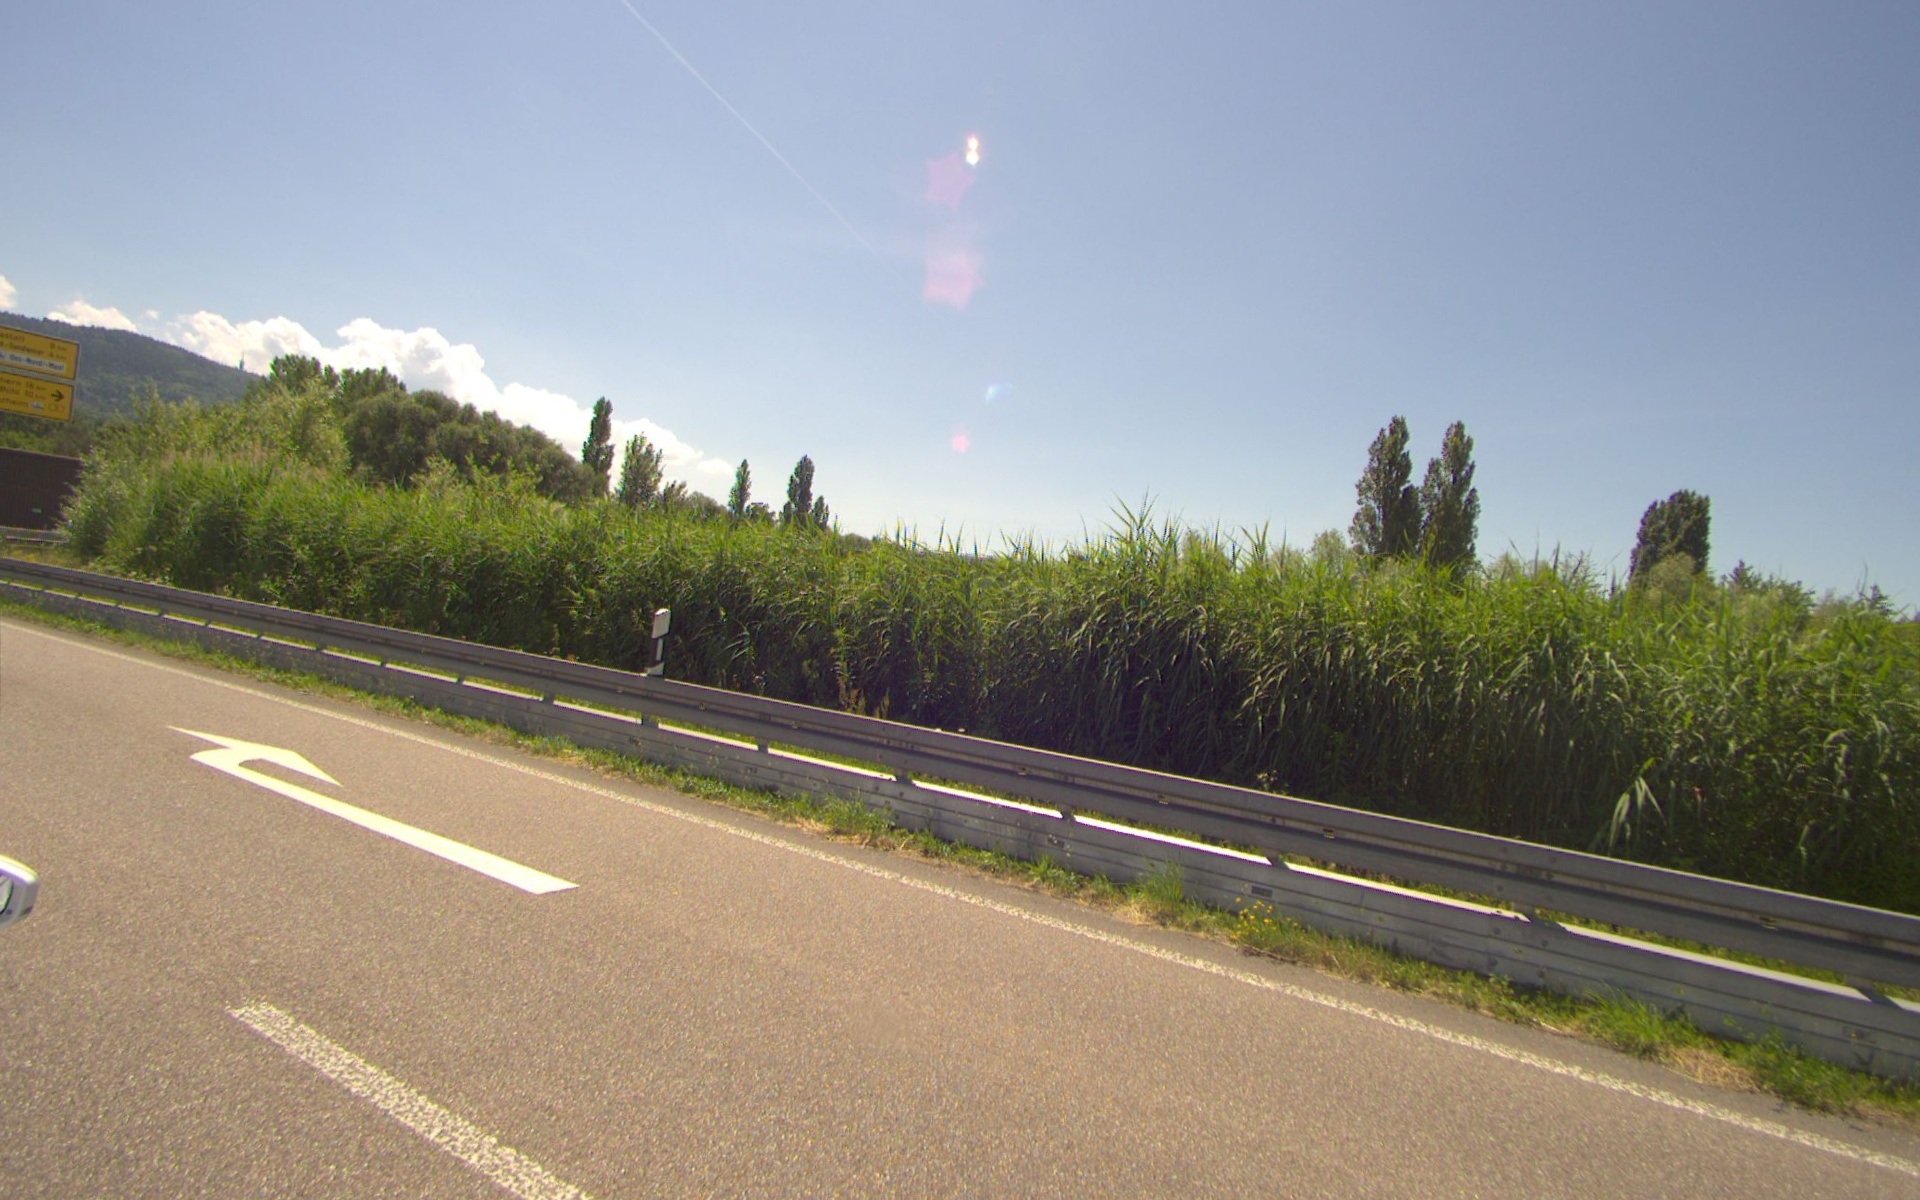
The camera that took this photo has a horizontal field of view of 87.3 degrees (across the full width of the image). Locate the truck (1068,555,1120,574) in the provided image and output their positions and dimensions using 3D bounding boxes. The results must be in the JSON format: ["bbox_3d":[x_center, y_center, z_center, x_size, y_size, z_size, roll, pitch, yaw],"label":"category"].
[{"bbox_3d":[19.004,-5.025,142.590,6.806,2.037,2.347,6,-1,32],"label":"truck"}]
